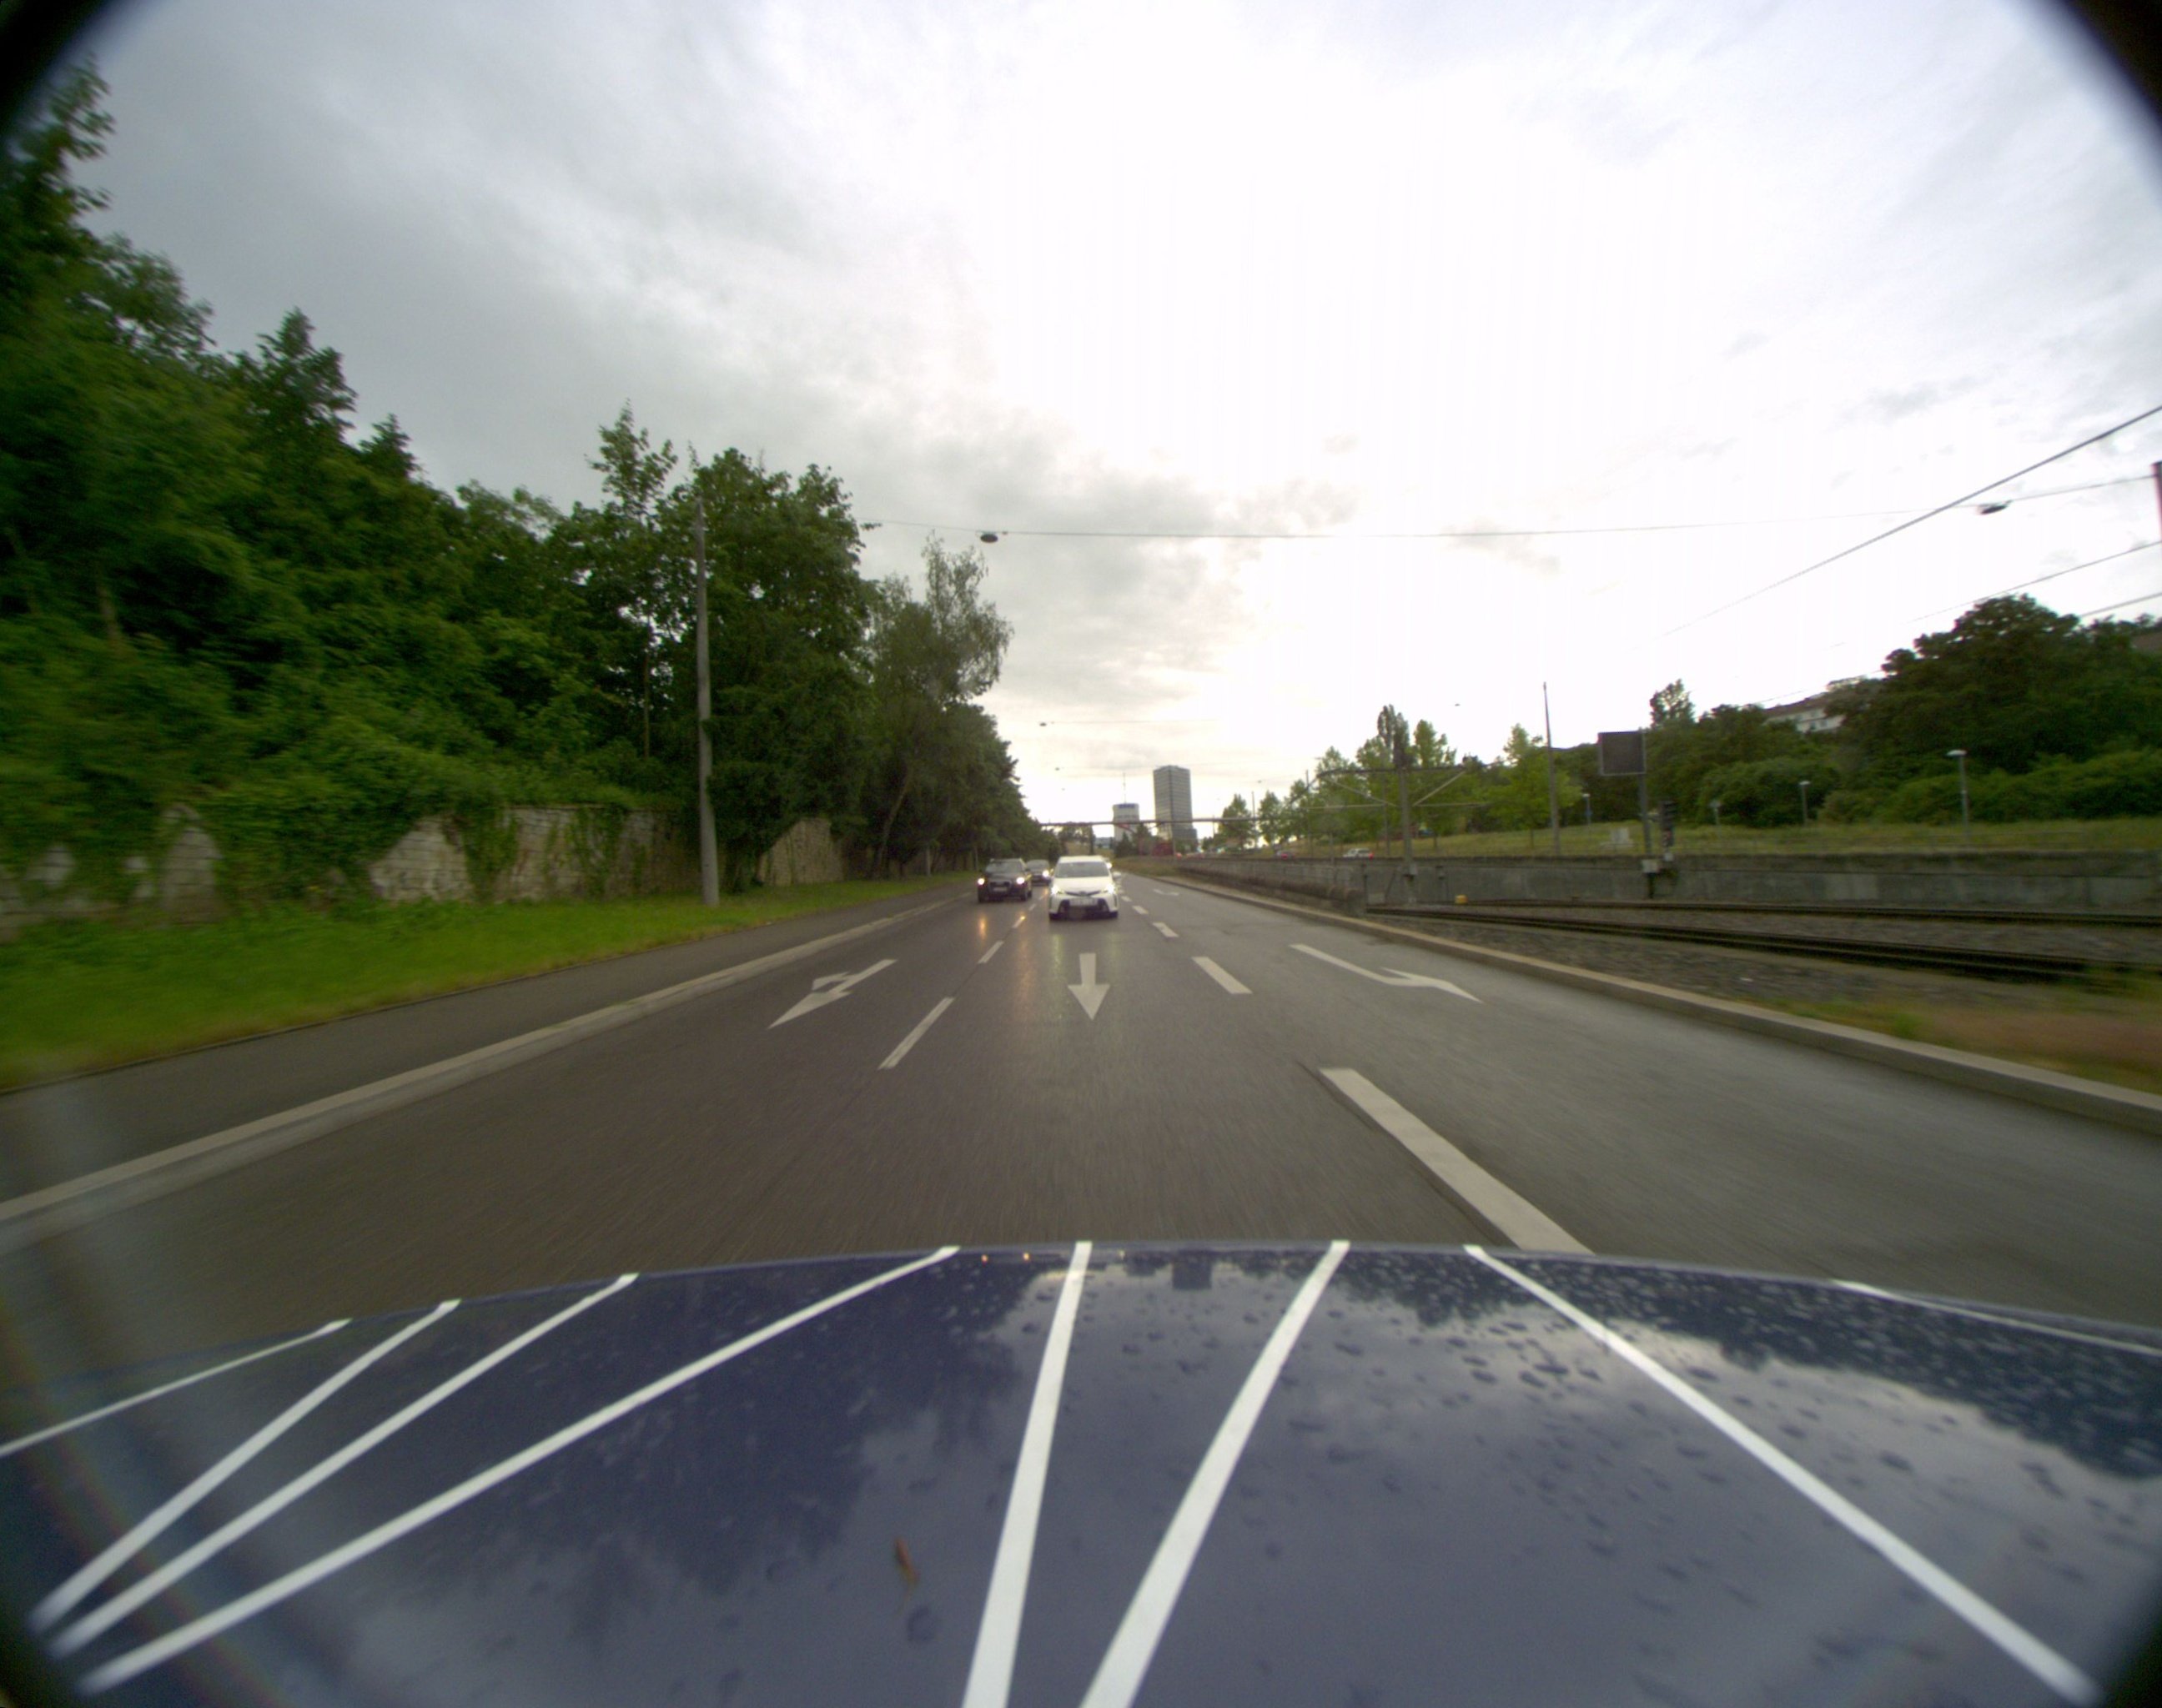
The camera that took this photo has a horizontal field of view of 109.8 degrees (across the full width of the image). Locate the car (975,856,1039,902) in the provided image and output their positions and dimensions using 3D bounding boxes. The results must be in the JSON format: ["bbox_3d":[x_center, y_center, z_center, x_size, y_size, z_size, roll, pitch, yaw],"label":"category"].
[{"bbox_3d":[-2.785,0.912,29.543,1.927,1.591,4.279,-1,1,2],"label":"car"}]

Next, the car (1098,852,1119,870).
[{"bbox_3d":[2.761,0.712,76.117,1.998,1.761,4.002,0,-1,3],"label":"car"}]

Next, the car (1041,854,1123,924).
[{"bbox_3d":[0.150,0.857,20.566,1.924,1.604,4.376,-2,0,3],"label":"car"}]

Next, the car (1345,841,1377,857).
[{"bbox_3d":[24.985,-0.404,67.896,1.559,1.284,3.559,-3,-1,1],"label":"car"}]

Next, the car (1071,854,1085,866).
[{"bbox_3d":[-0.484,0.862,114.725,1.998,1.761,4.000,-3,0,1],"label":"car"}]

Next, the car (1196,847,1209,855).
[{"bbox_3d":[25.989,-0.599,162.928,1.895,1.634,4.357,-5,0,1],"label":"car"}]

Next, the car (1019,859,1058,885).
[{"bbox_3d":[-2.476,1.047,45.239,1.845,1.377,4.001,-2,0,4],"label":"car"}]

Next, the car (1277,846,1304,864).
[{"bbox_3d":[25.557,0.128,92.943,1.896,1.959,4.034,-5,0,-3],"label":"car"}]

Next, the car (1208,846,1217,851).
[{"bbox_3d":[40.107,-1.672,232.120,1.661,1.565,3.790,-5,0,-3],"label":"car"}]
